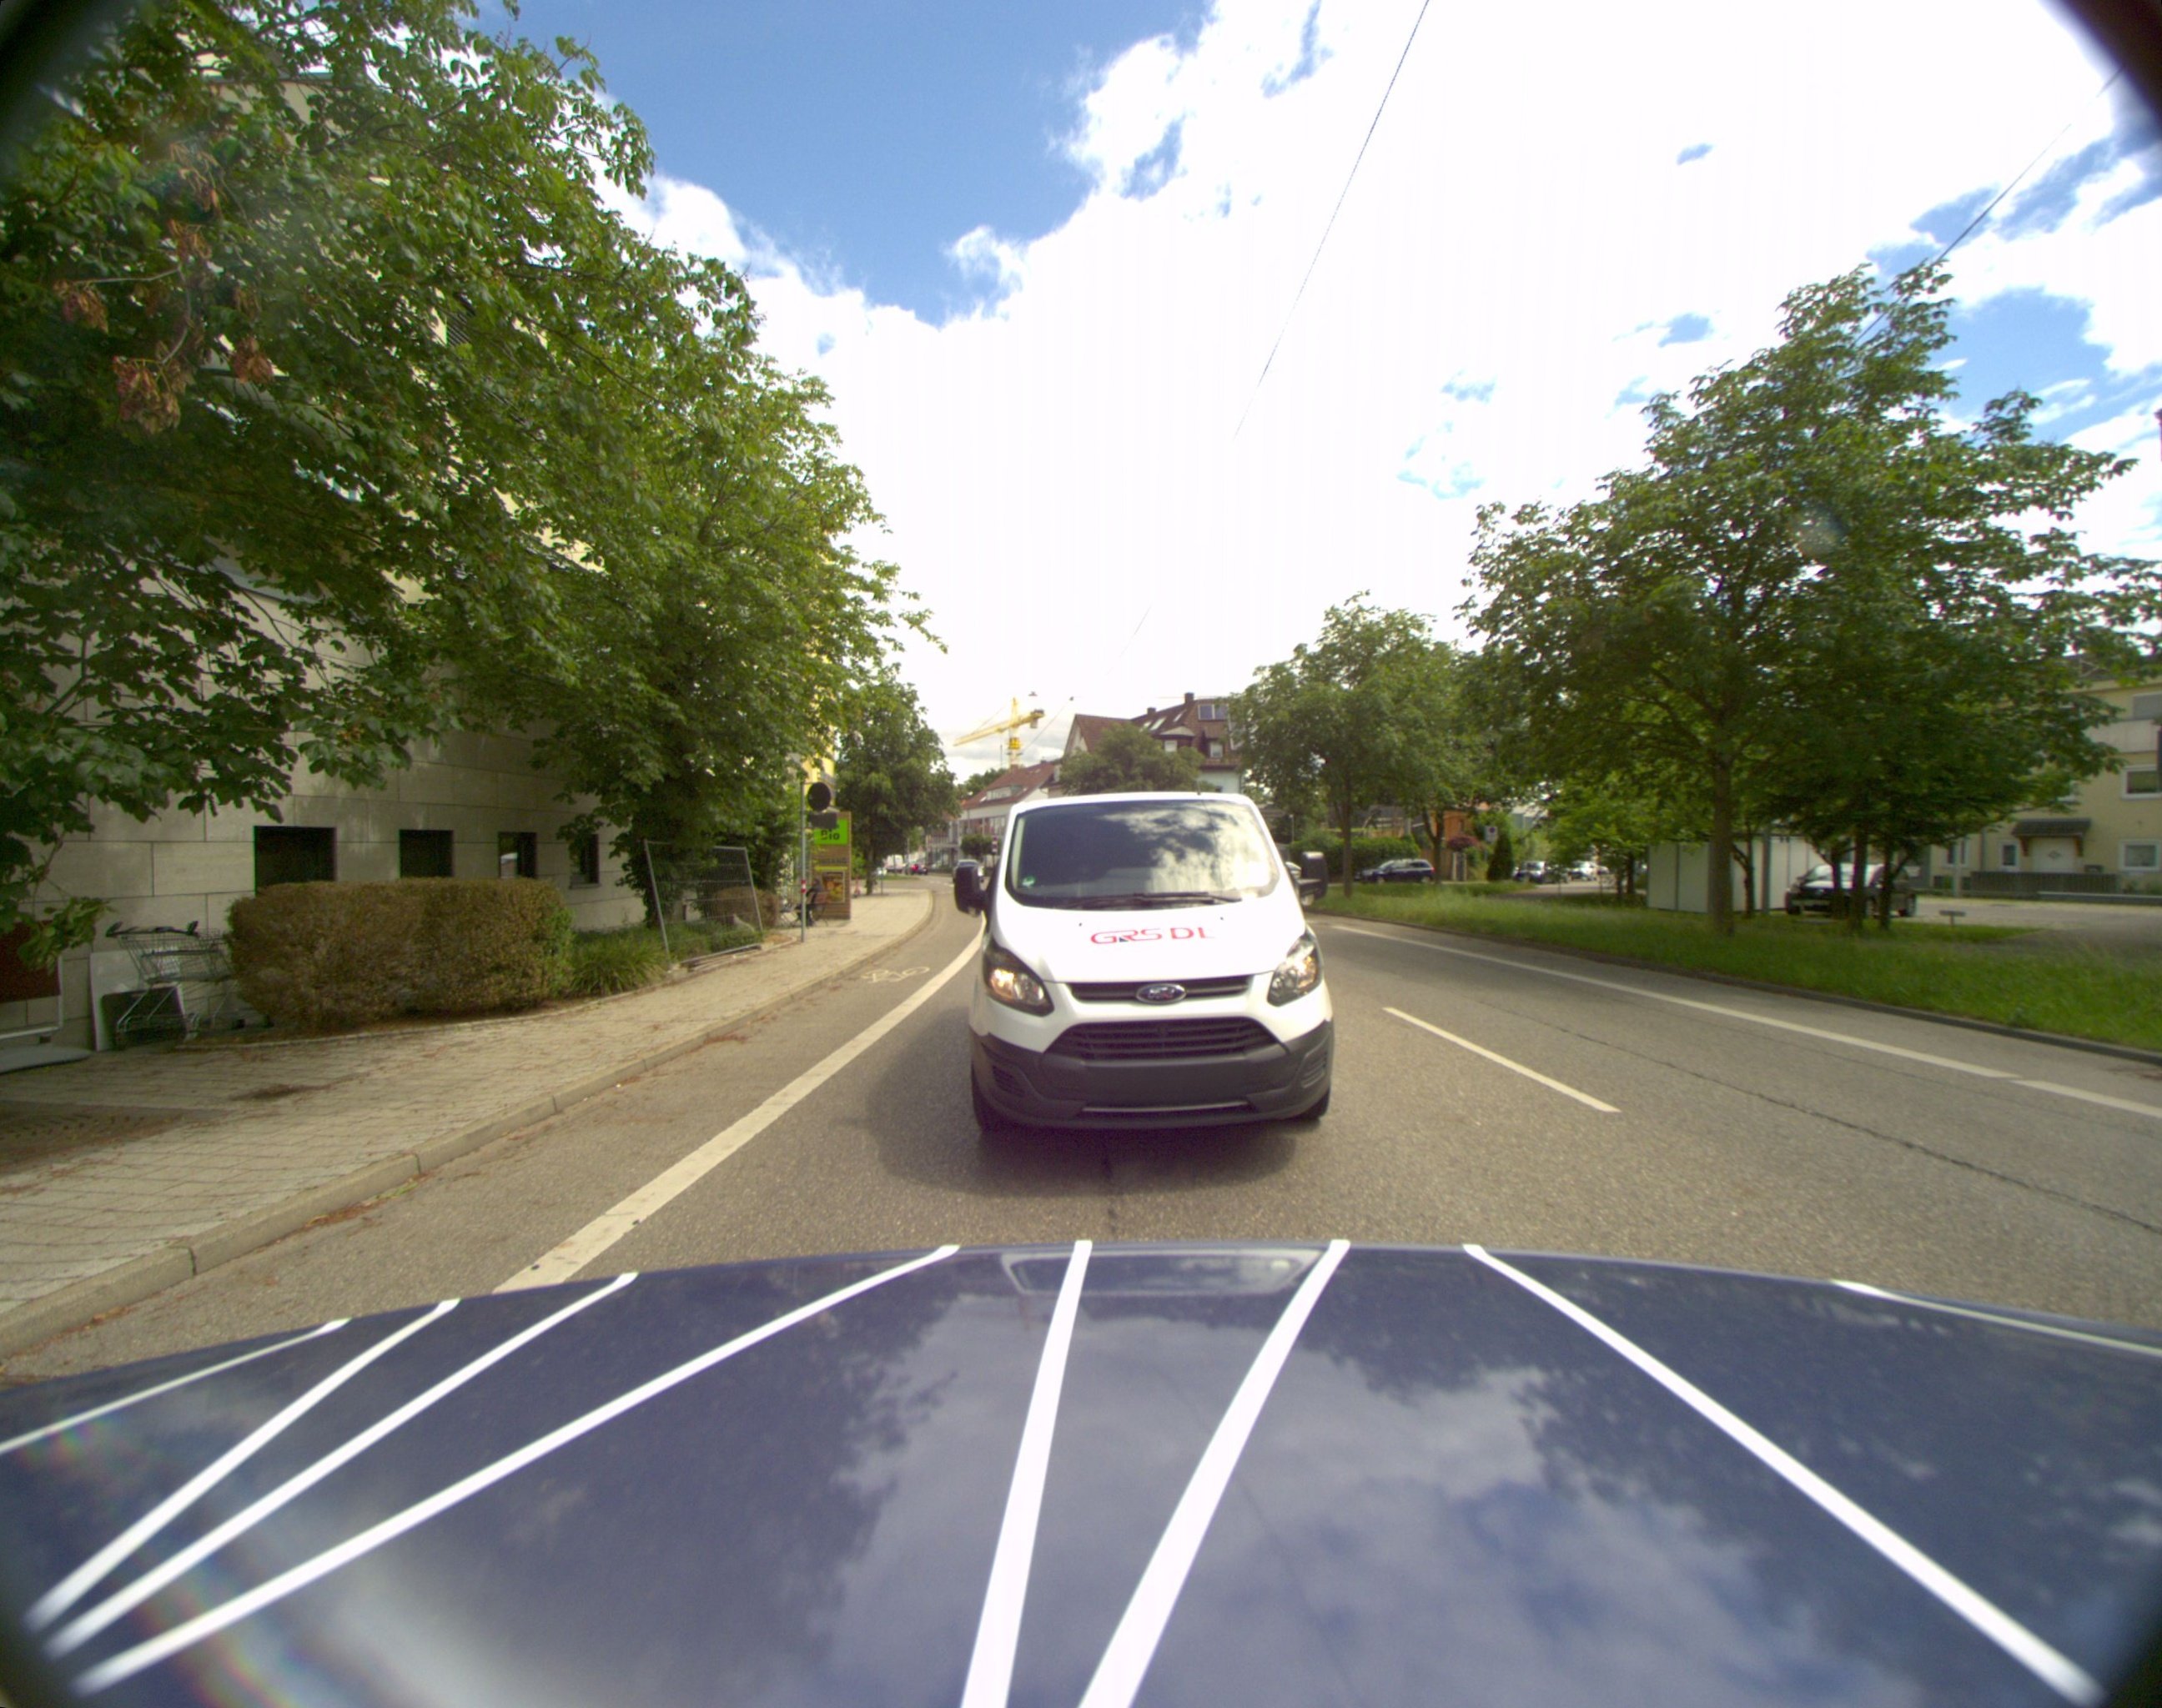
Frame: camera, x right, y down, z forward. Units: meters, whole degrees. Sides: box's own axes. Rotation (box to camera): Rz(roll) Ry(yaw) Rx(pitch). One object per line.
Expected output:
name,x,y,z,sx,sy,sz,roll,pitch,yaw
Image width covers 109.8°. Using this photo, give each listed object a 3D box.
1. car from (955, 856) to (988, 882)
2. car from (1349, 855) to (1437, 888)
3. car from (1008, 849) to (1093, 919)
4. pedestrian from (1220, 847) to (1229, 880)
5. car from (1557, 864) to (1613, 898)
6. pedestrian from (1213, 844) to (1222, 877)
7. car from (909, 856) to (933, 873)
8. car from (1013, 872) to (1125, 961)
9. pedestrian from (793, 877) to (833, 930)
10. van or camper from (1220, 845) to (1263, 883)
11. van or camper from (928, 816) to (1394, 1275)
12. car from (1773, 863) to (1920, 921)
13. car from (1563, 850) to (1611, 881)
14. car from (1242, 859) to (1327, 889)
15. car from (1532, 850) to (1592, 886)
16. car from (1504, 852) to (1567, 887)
car,-7.241,0.952,50.071,1.695,1.477,3.995,-3,1,-13
car,16.615,0.918,40.549,3.976,1.672,1.717,0,1,-3
car,-1.008,0.800,22.601,1.853,1.805,3.996,-3,1,-11
pedestrian,8.830,0.580,46.725,0.383,1.979,0.443,-3,1,0
car,33.730,1.751,50.842,4.007,2.002,1.995,-3,1,-39
pedestrian,8.386,0.384,46.763,0.425,2.002,0.363,-2,1,1
car,-17.826,1.125,84.511,1.744,1.840,3.991,0,0,-26
car,-0.372,1.083,14.746,1.841,1.382,3.998,0,0,-6
pedestrian,-6.782,1.247,19.282,0.731,1.293,0.754,0,1,0
van or camper,9.361,0.546,44.606,1.793,2.077,3.811,-2,1,2
van or camper,0.376,0.838,5.863,2.027,2.002,5.103,0,0,1
car,20.800,0.969,20.624,4.006,1.411,1.789,0,0,-29
car,36.454,0.830,54.731,4.007,2.002,1.893,-3,1,-42
car,10.799,1.049,40.388,4.046,1.314,1.534,-3,1,-13
car,30.537,0.849,48.235,4.007,2.002,1.995,-3,1,-39
car,27.317,0.892,45.617,4.008,2.002,1.976,0,0,-39
